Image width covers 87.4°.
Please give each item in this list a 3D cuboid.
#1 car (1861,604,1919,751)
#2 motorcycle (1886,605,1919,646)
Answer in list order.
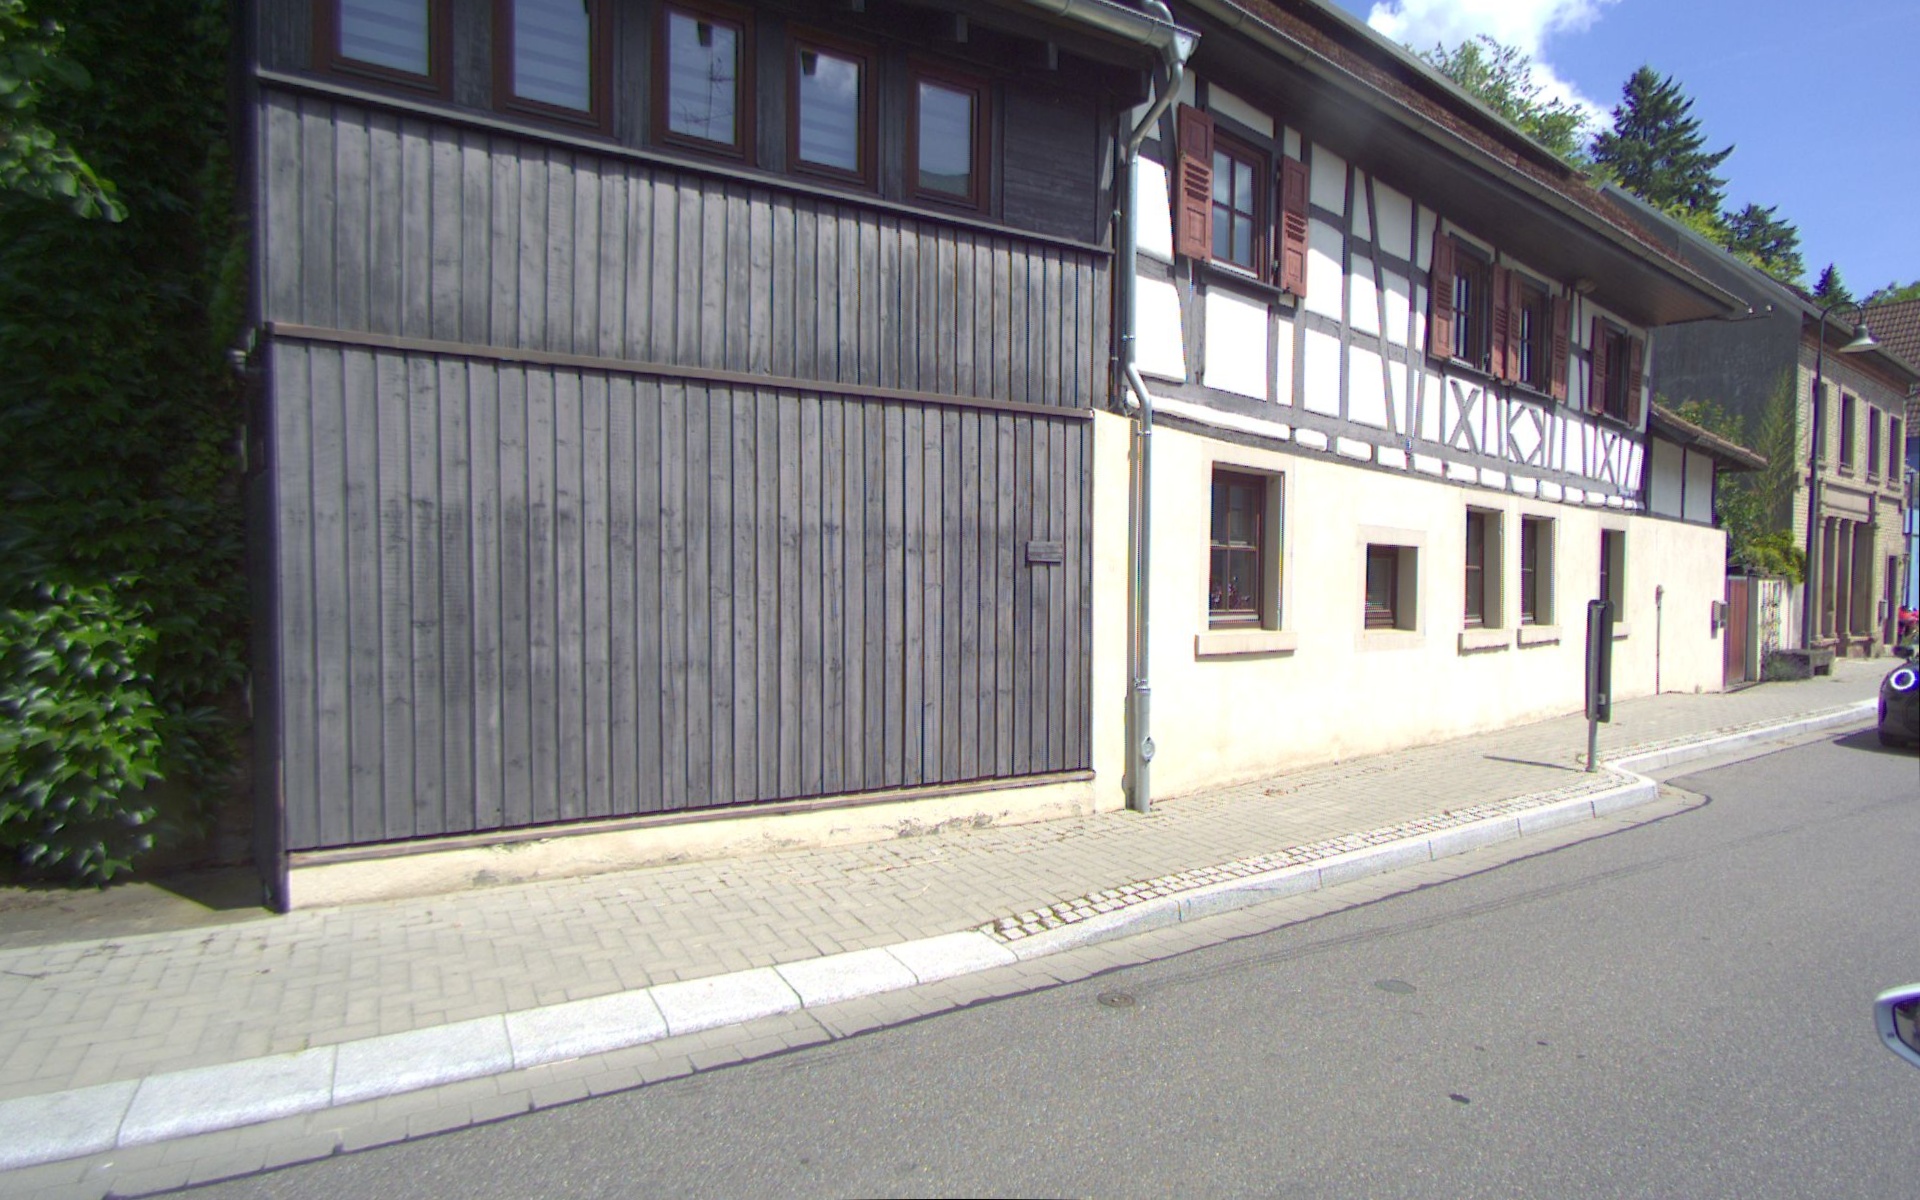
[{"bbox_3d":[11.820,0.853,11.299,4.394,1.485,1.686,1,2,-38],"label":"car"},{"bbox_3d":[25.306,0.666,26.871,1.842,1.014,0.414,0,6,-38],"label":"motorcycle"}]
